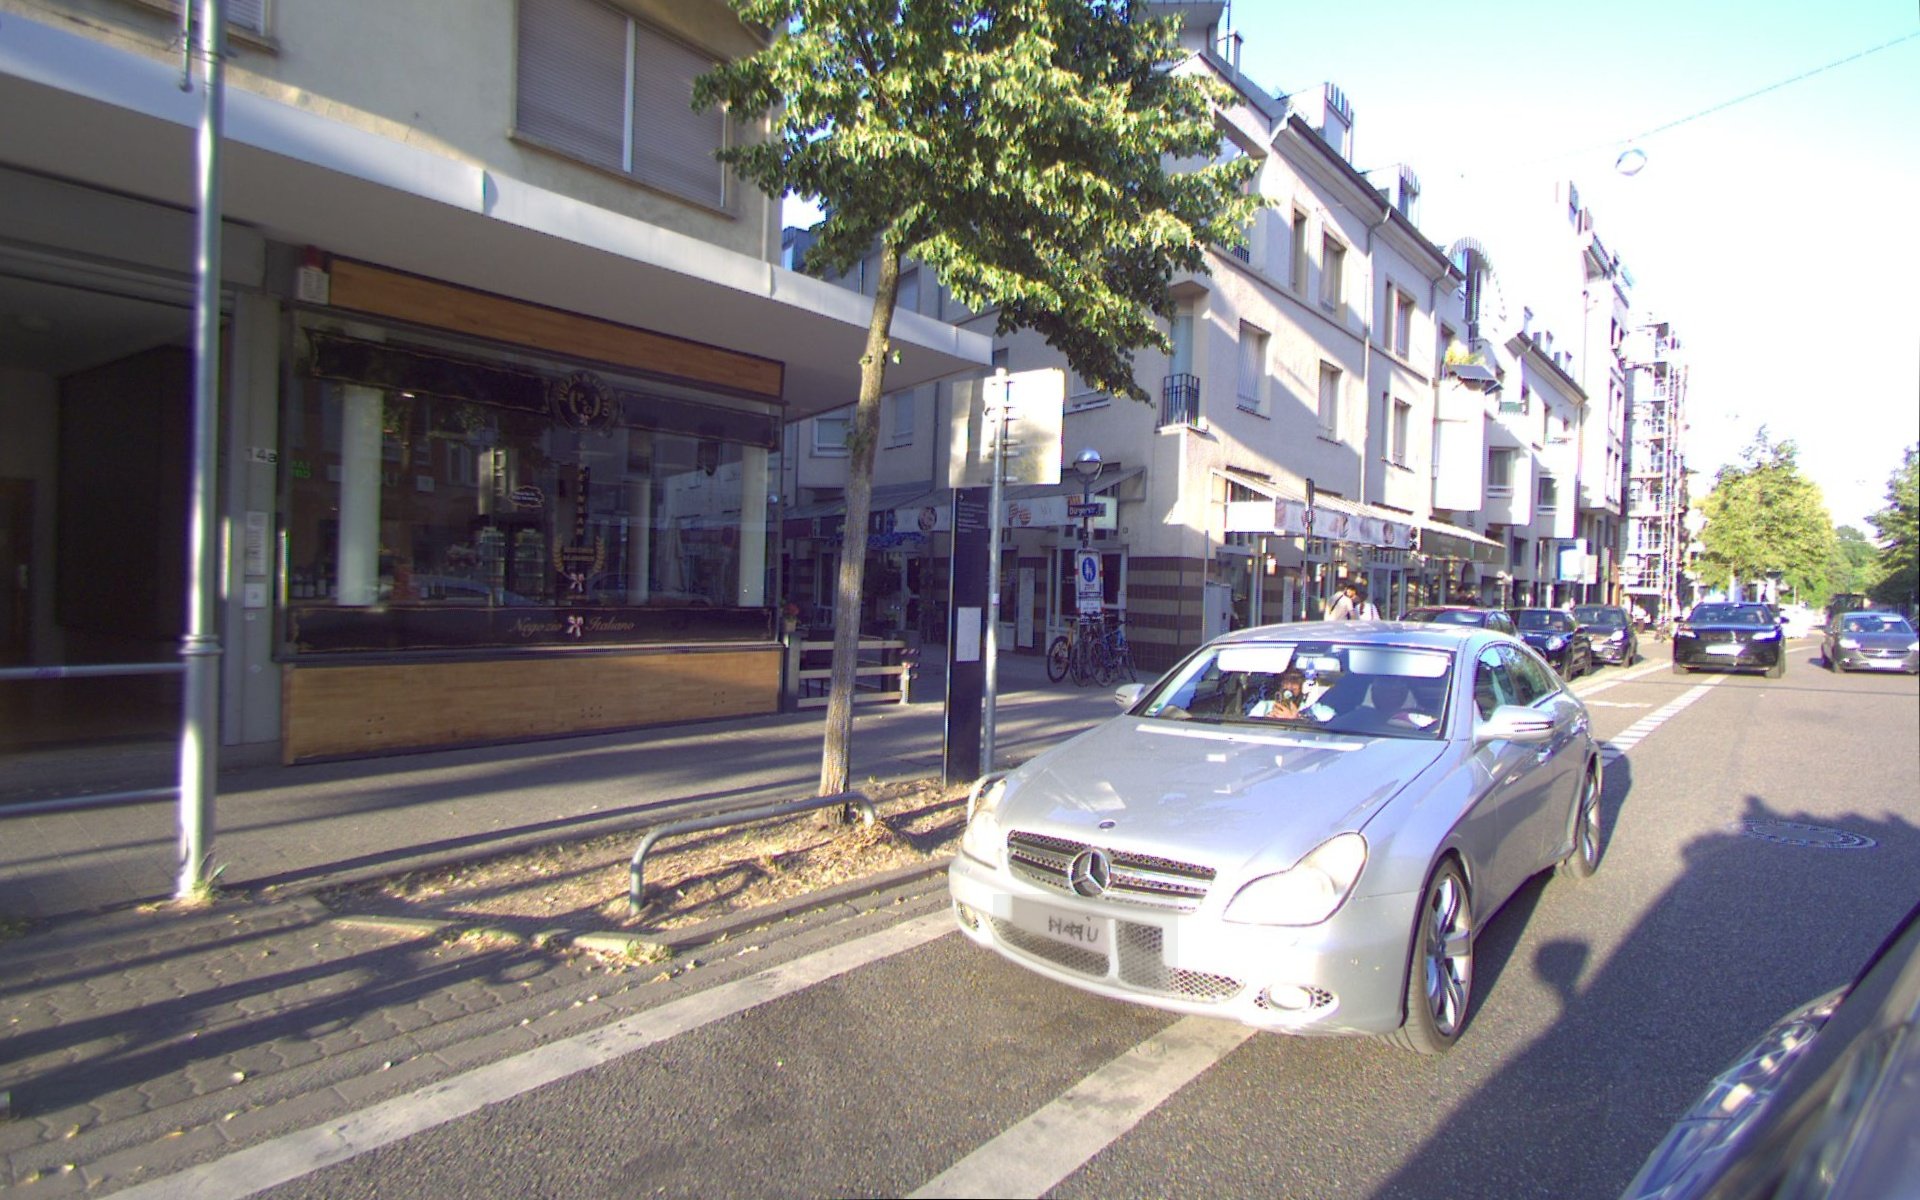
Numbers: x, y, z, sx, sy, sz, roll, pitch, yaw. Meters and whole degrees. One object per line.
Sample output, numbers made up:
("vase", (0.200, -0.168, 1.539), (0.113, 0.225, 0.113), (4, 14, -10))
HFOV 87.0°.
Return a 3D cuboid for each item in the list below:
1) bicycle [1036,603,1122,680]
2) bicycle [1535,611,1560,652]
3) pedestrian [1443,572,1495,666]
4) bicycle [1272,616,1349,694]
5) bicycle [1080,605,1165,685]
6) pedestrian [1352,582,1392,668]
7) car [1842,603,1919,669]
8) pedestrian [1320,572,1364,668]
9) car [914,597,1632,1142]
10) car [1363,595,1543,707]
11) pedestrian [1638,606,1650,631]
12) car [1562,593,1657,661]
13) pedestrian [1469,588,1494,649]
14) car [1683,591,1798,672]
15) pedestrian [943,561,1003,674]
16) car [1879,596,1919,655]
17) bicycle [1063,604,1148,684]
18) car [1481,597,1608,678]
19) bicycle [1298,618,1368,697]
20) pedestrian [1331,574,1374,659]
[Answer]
("bicycle", (1.870, 0.611, 15.714), (0.320, 1.118, 1.851), (2, 1, 41))
("bicycle", (16.243, 0.857, 27.963), (0.295, 1.099, 1.441), (1, 1, 41))
("pedestrian", (10.611, 0.396, 21.108), (0.776, 1.907, 0.660), (-2, -2, 41))
("bicycle", (5.254, 0.796, 15.104), (0.314, 1.059, 1.853), (3, 2, 43))
("bicycle", (2.462, 0.645, 15.184), (0.320, 1.118, 1.851), (2, 1, 41))
("pedestrian", (7.958, 0.475, 19.539), (0.519, 1.612, 0.402), (5, 3, 41))
("car", (22.536, 0.817, 24.577), (1.616, 1.492, 3.634), (0, 0, 41))
("pedestrian", (7.348, 0.377, 19.465), (0.543, 1.779, 0.495), (5, 3, 41))
("car", (1.952, 0.718, 4.970), (1.740, 1.419, 4.571), (0, -1, 40))
("car", (7.768, 0.691, 15.769), (1.587, 1.451, 3.868), (4, 2, 40))
("pedestrian", (36.202, 0.973, 53.556), (0.490, 1.279, 0.415), (0, 0, 42))
("car", (17.193, 0.669, 26.723), (1.615, 1.612, 3.868), (2, 1, 40))
("pedestrian", (15.591, 0.548, 30.254), (0.574, 1.823, 0.443), (0, 0, 42))
("car", (17.942, 0.656, 23.190), (1.884, 1.656, 4.165), (0, 0, 41))
("pedestrian", (0.194, 0.258, 15.856), (0.688, 1.696, 0.799), (2, 2, -13))
("car", (29.185, 0.807, 29.331), (1.708, 1.696, 4.282), (2, 1, 11))
("bicycle", (2.234, 0.635, 15.389), (0.290, 1.118, 1.859), (2, 1, 41))
("car", (12.246, 0.710, 21.107), (1.615, 1.452, 3.868), (3, 2, 40))
("bicycle", (5.496, 0.815, 14.855), (0.314, 1.059, 1.638), (3, 2, 43))
("pedestrian", (8.461, 0.338, 21.807), (0.629, 1.771, 0.660), (3, 2, 41))
